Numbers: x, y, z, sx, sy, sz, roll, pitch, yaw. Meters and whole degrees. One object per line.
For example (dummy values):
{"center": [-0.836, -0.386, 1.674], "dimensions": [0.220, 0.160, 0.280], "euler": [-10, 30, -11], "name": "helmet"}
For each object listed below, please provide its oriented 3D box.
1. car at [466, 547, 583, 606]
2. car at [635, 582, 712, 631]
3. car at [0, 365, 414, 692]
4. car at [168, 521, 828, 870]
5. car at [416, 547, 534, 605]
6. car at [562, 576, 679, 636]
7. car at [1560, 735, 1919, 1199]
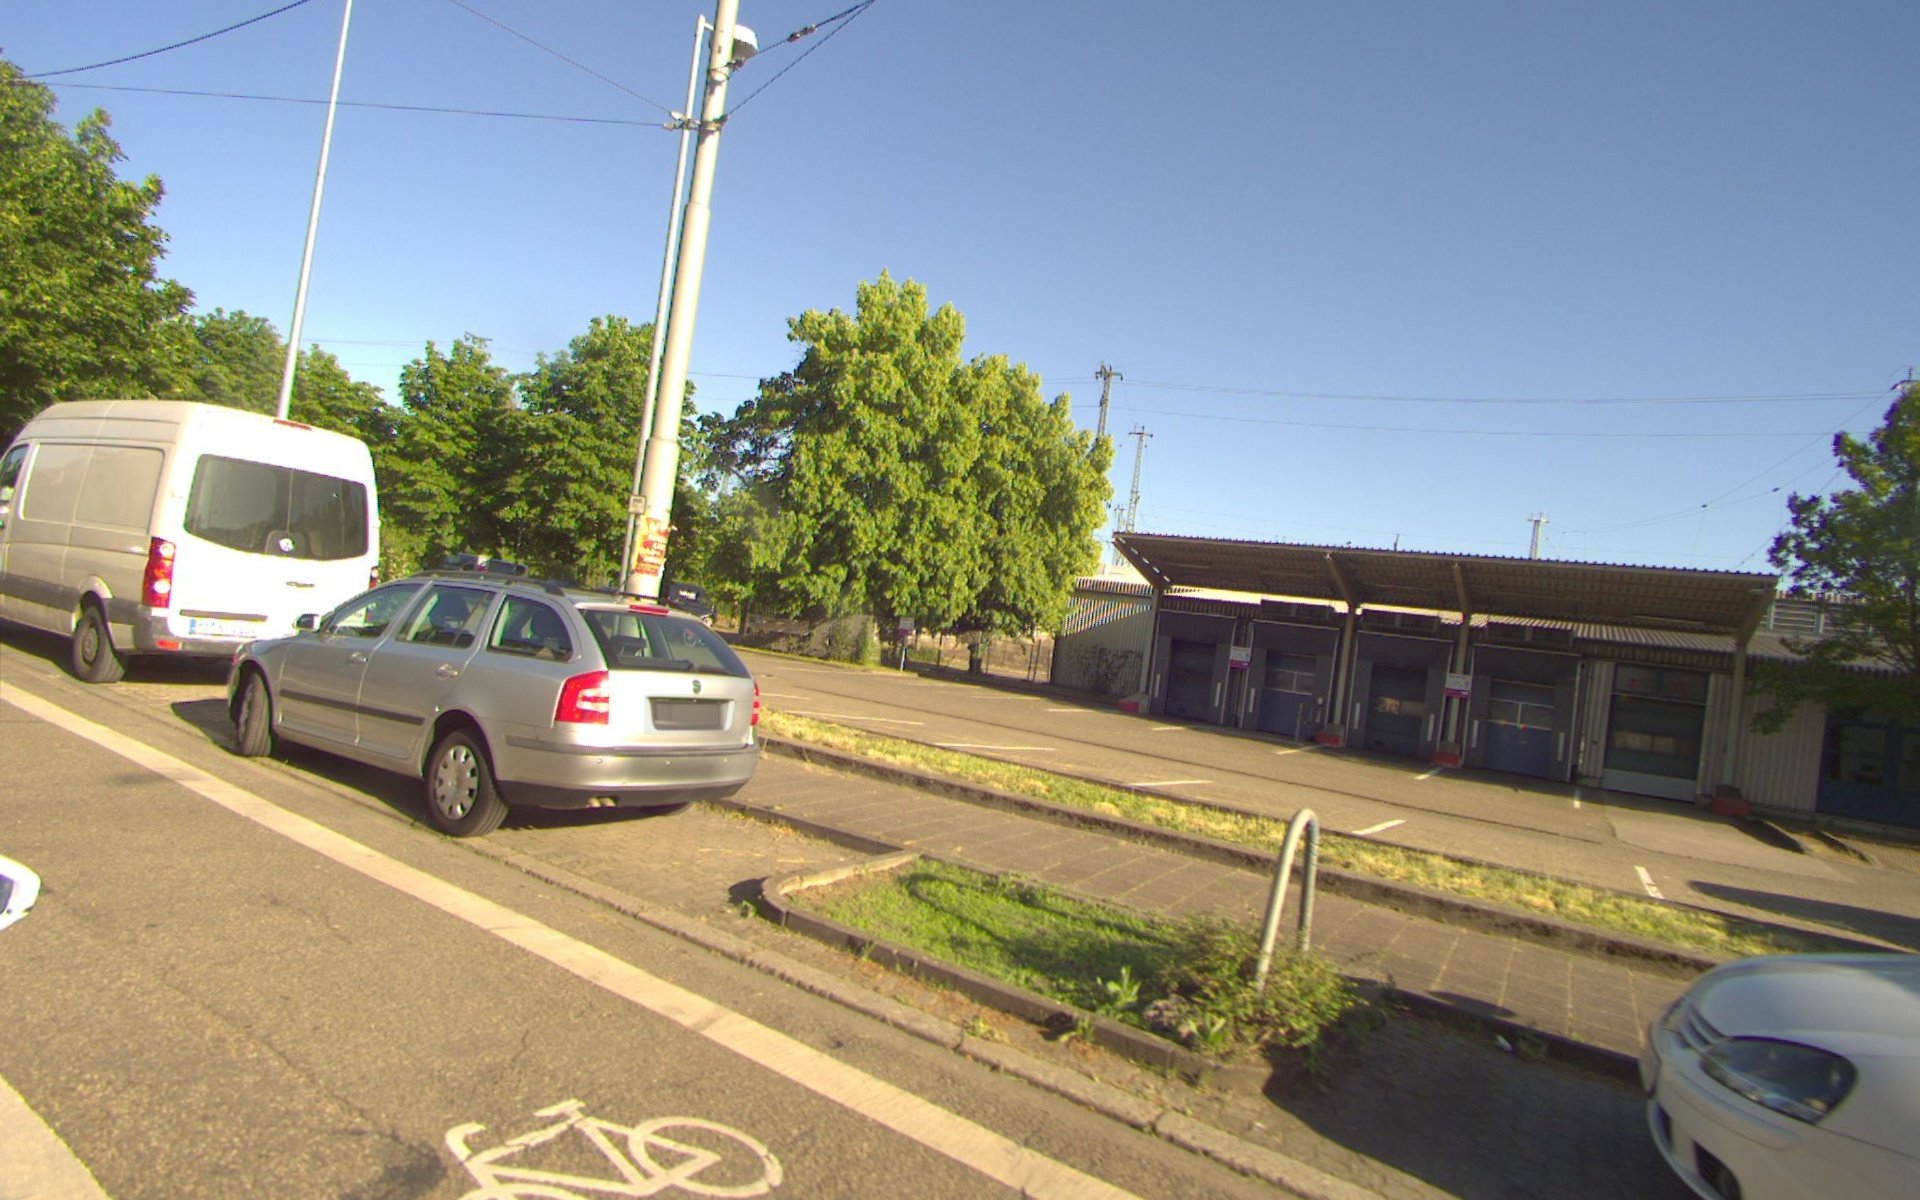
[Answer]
{"center": [-19.880, -1.011, 46.191], "dimensions": [1.926, 1.834, 4.705], "euler": [7, -4, 24], "name": "car"}
{"center": [-16.975, 0.403, 59.813], "dimensions": [2.032, 2.327, 4.205], "euler": [7, -2, 20], "name": "car"}
{"center": [-8.753, -0.780, 10.754], "dimensions": [5.989, 2.698, 2.183], "euler": [6, -1, 31], "name": "car"}
{"center": [-3.383, 0.495, 7.110], "dimensions": [4.524, 1.547, 1.915], "euler": [6, -3, 32], "name": "car"}
{"center": [-22.627, -1.065, 47.139], "dimensions": [1.926, 1.834, 4.705], "euler": [7, -4, 24], "name": "car"}
{"center": [-14.605, 0.313, 43.564], "dimensions": [1.926, 1.834, 4.705], "euler": [7, -4, 24], "name": "car"}
{"center": [3.997, 1.449, 2.483], "dimensions": [4.182, 1.530, 1.730], "euler": [6, -2, 33], "name": "car"}
